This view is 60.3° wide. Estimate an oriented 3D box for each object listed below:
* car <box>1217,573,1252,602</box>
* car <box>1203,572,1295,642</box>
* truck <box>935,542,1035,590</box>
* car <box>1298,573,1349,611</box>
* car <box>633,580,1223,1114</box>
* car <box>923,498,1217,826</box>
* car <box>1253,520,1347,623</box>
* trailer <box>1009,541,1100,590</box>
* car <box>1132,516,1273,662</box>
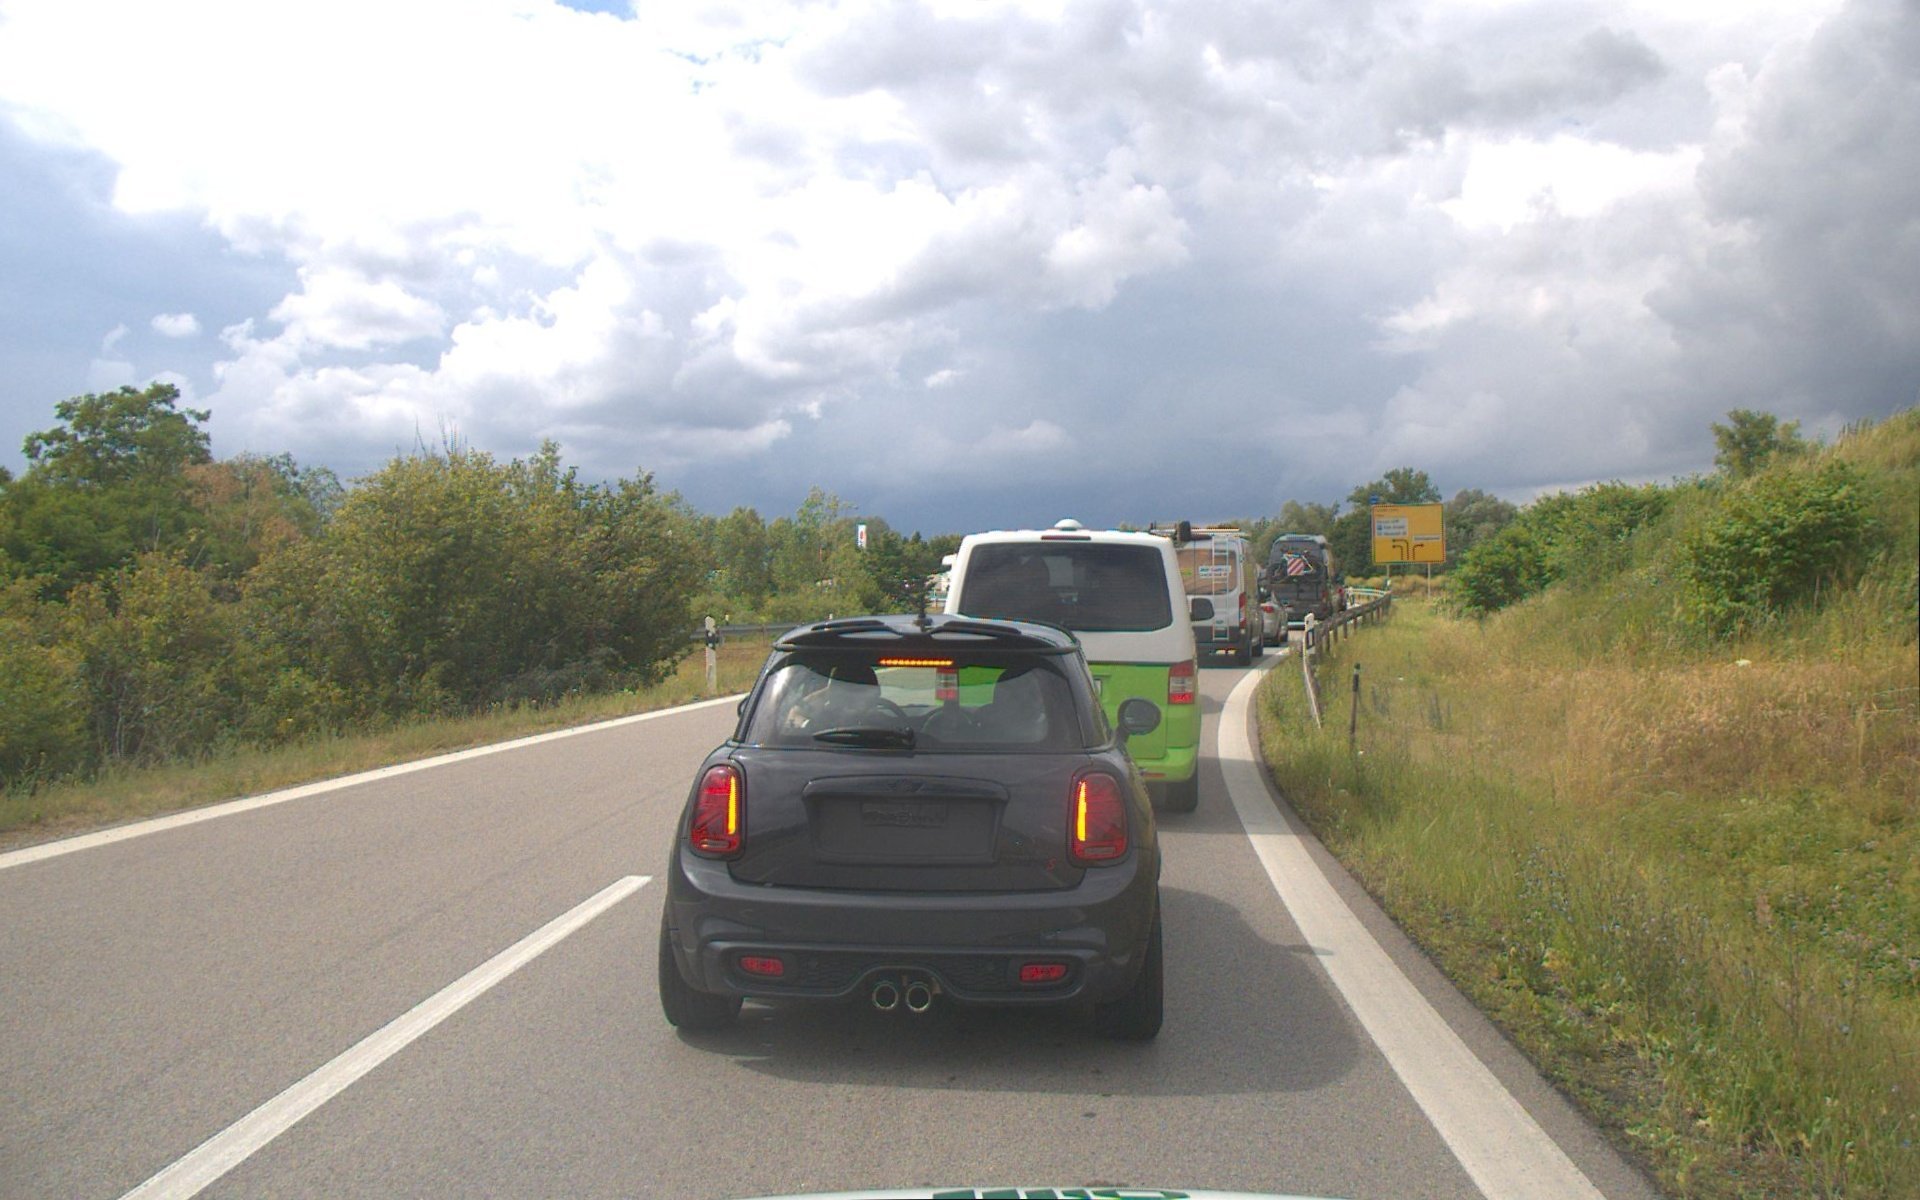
[{"bbox_3d":[19.279,-0.867,116.299,2.051,1.916,4.497,1,0,4],"label":"car"},{"bbox_3d":[7.341,0.179,41.763,1.951,1.671,3.931,1,0,15],"label":"car"},{"bbox_3d":[2.128,-2.935,146.100,2.821,4.045,9.877,1,0,-42],"label":"truck"},{"bbox_3d":[16.361,-0.338,74.292,1.853,1.616,4.497,1,0,18],"label":"car"},{"bbox_3d":[0.004,0.720,6.825,1.762,1.573,3.740,0,0,3],"label":"car"},{"bbox_3d":[0.973,0.386,12.661,1.870,2.081,4.184,0,0,8],"label":"car"},{"bbox_3d":[11.066,-0.850,53.416,2.262,3.122,6.665,1,0,18],"label":"car"},{"bbox_3d":[7.867,-2.840,138.862,3.010,3.966,8.668,1,0,-34],"label":"trailer"},{"bbox_3d":[4.969,-0.184,33.248,2.165,2.668,5.538,1,0,15],"label":"car"}]
